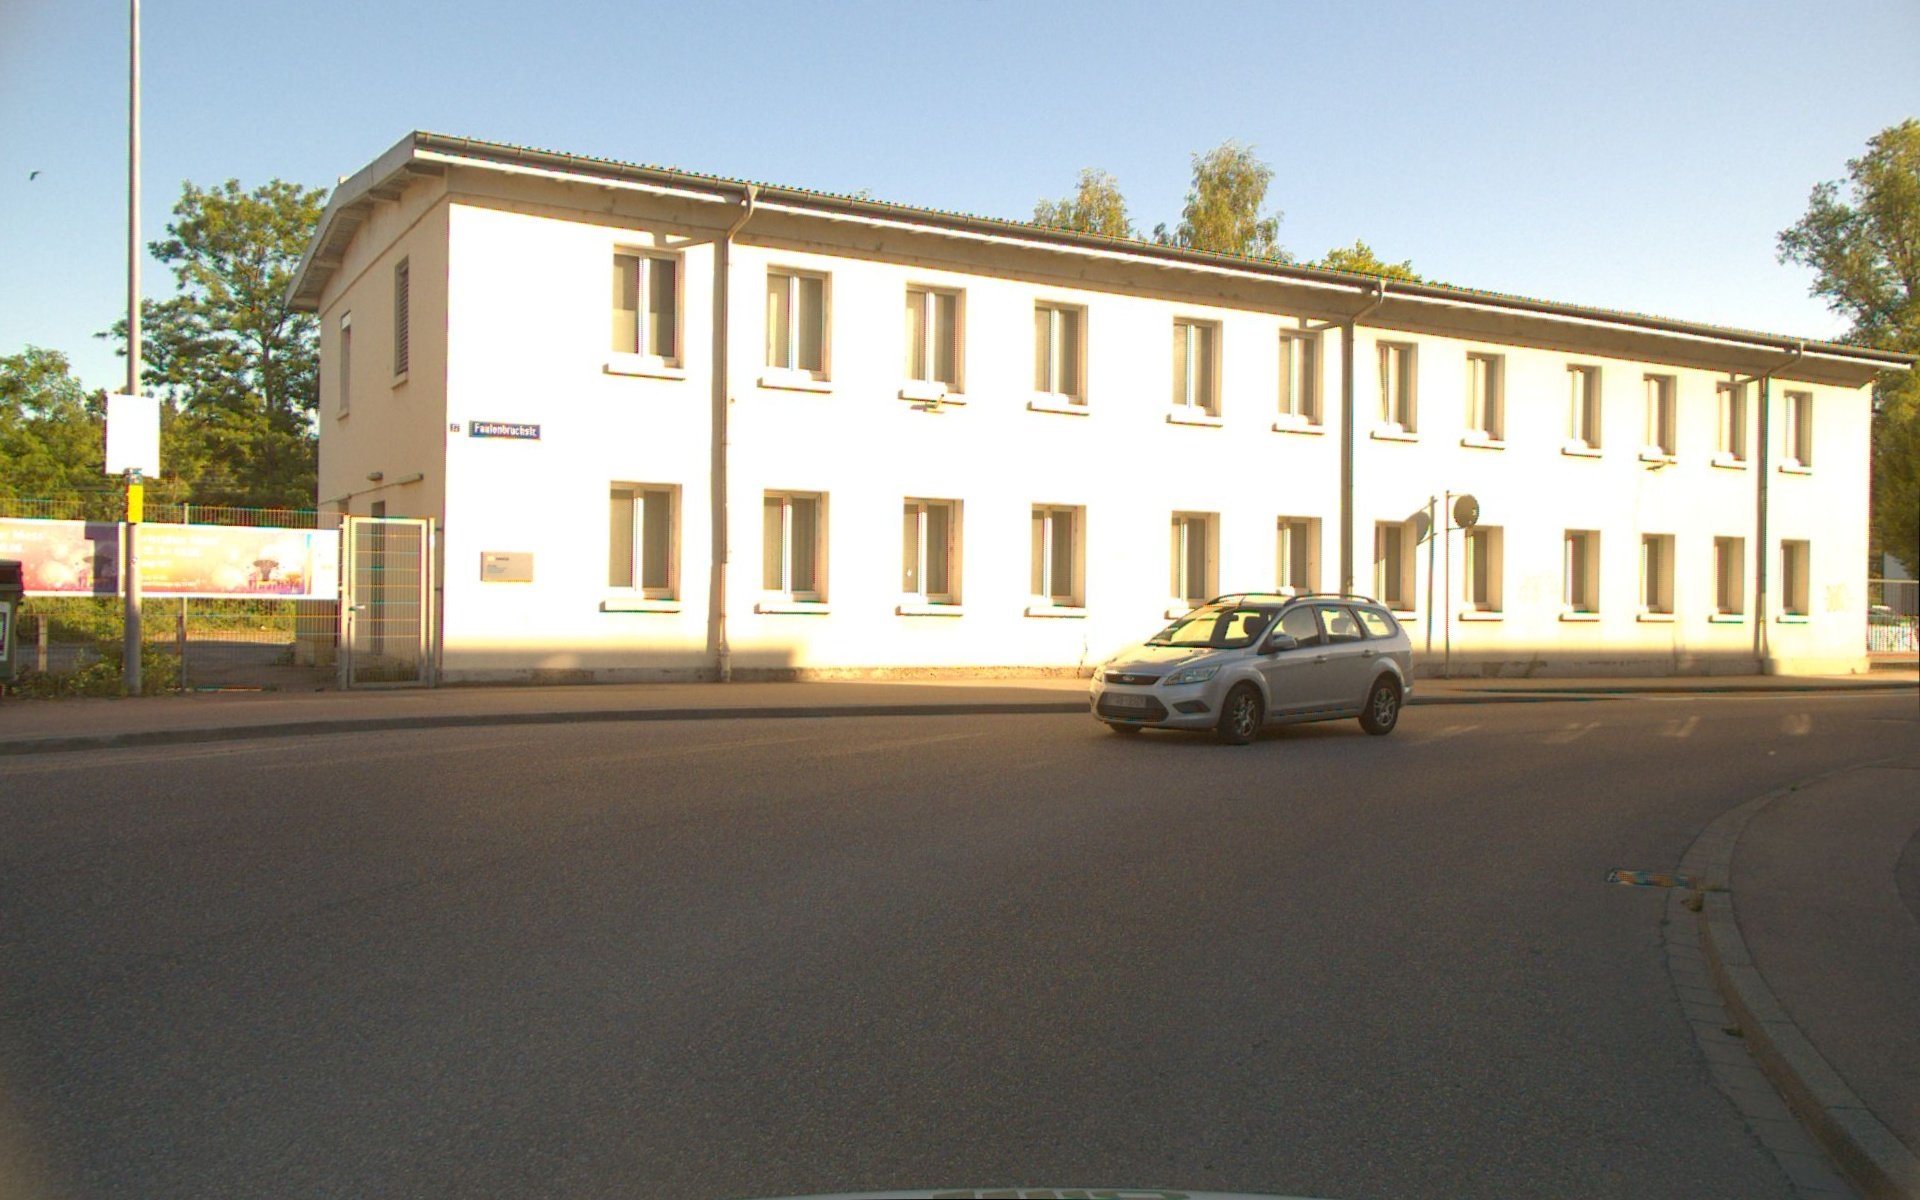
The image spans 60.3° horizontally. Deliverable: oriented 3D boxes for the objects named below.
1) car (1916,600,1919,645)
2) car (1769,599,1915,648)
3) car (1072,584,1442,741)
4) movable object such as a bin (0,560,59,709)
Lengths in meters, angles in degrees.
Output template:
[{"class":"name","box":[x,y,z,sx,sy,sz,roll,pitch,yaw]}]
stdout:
[{"class":"car","box":[33.378,0.769,54.060,3.943,1.477,1.981,1,0,-29]},{"class":"car","box":[29.492,0.792,55.414,1.848,1.567,3.962,0,-1,-28]},{"class":"car","box":[3.404,0.645,18.382,4.465,1.531,1.717,1,0,-43]},{"class":"movable object such as a bin","box":[-10.126,0.338,16.946,1.360,1.497,1.185,1,0,-41]}]
